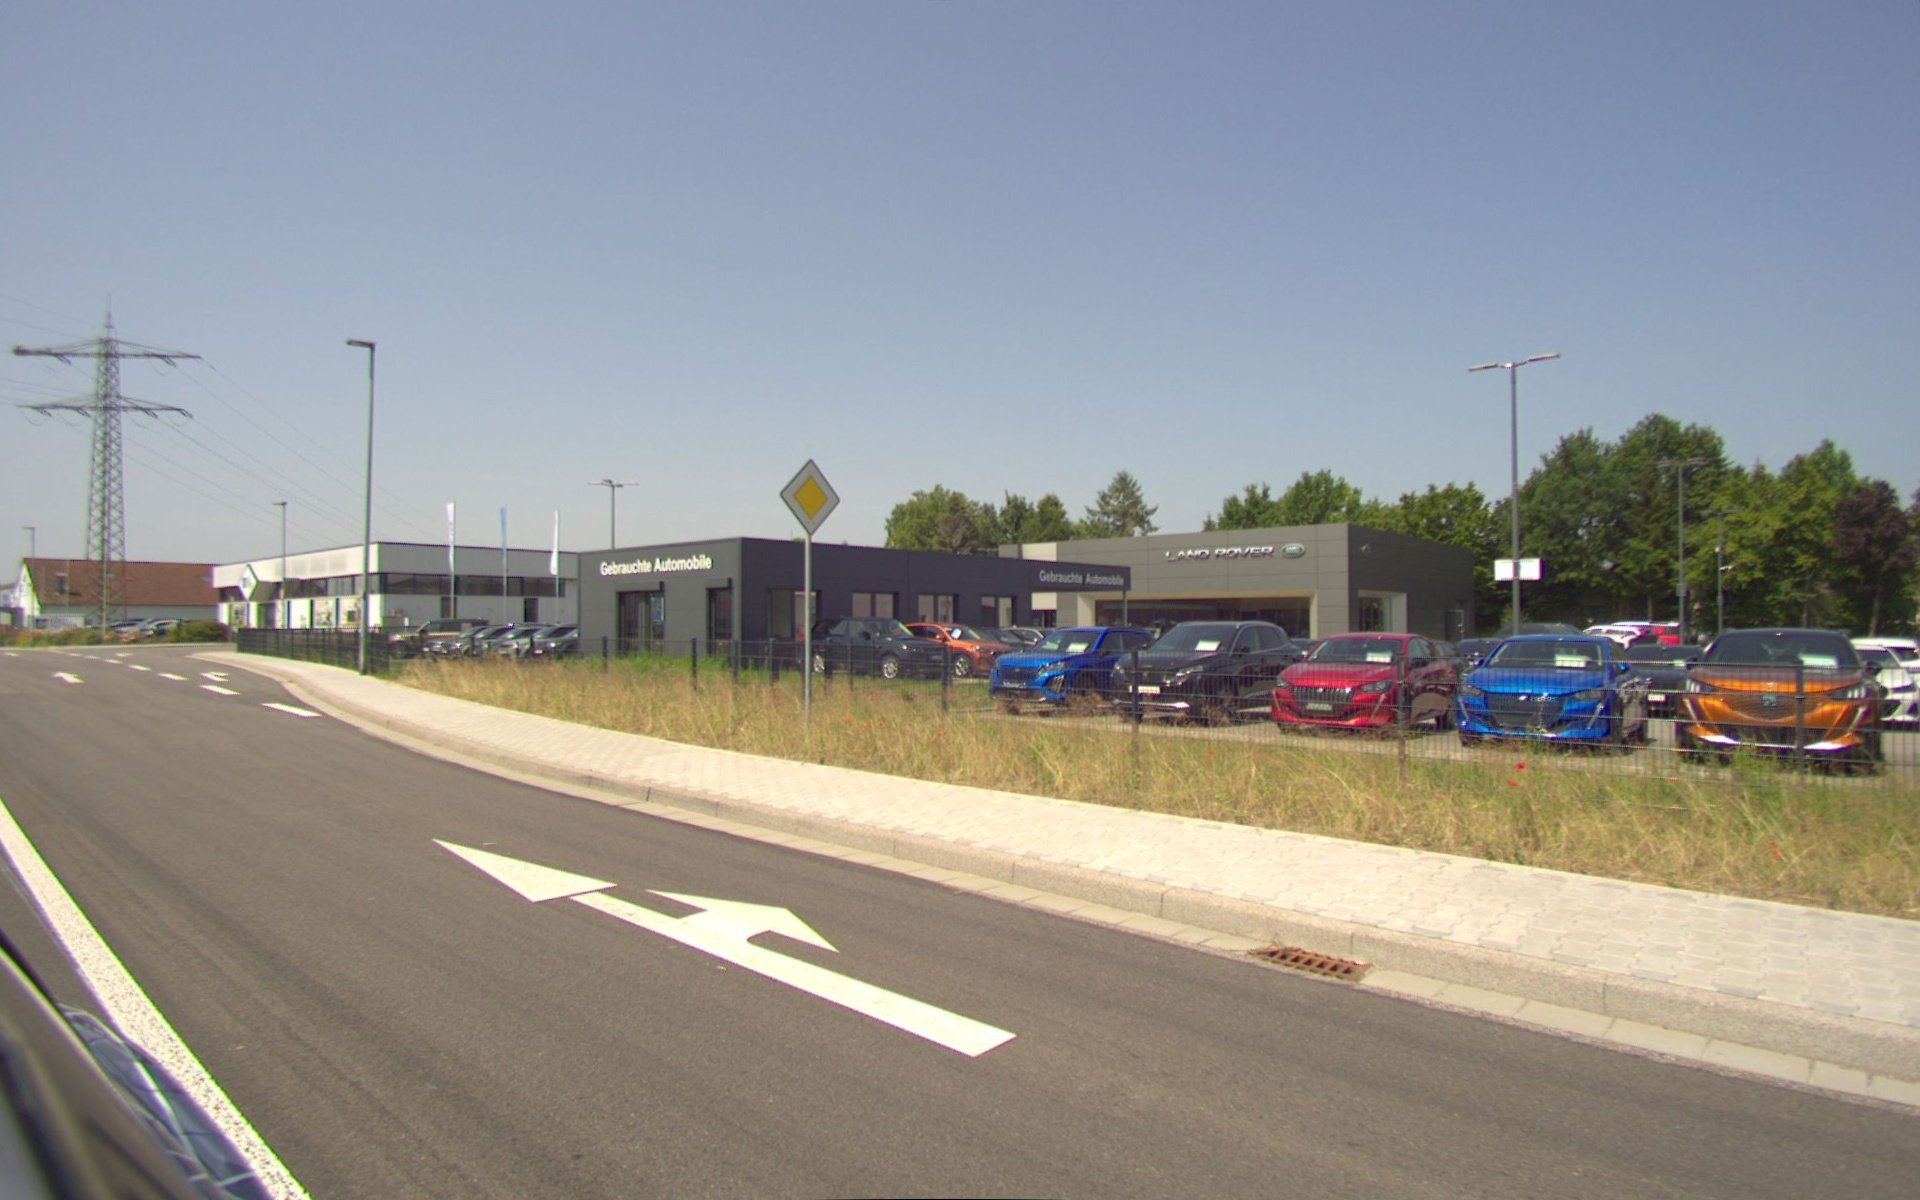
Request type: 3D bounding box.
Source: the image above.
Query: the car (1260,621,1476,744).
[{"bbox_3d":[6.054,1.120,14.779,1.813,1.540,3.947,-3,-3,39],"label":"car"}]

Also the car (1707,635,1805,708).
[{"bbox_3d":[19.045,1.661,24.338,1.674,1.606,3.950,-2,-3,37],"label":"car"}]

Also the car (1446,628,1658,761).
[{"bbox_3d":[7.832,1.121,13.221,1.784,1.456,3.947,-3,-3,39],"label":"car"}]

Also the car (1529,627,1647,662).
[{"bbox_3d":[28.076,2.016,45.326,4.338,1.492,1.606,-2,-3,38],"label":"car"}]

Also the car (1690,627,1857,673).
[{"bbox_3d":[27.874,1.720,34.862,4.338,1.492,1.606,-2,-3,38],"label":"car"}]

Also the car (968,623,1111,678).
[{"bbox_3d":[2.737,1.719,35.433,4.748,1.752,1.934,0,-2,40],"label":"car"}]

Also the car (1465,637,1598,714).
[{"bbox_3d":[12.352,1.557,21.765,1.813,1.492,3.947,-3,-3,39],"label":"car"}]

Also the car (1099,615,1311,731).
[{"bbox_3d":[4.067,1.120,16.433,1.813,1.648,3.947,-3,-3,39],"label":"car"}]

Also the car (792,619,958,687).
[{"bbox_3d":[-2.487,1.461,28.962,4.748,1.752,1.934,0,-2,40],"label":"car"}]

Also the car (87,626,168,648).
[{"bbox_3d":[-57.963,2.579,70.498,1.994,1.425,3.954,-2,-3,33],"label":"car"}]

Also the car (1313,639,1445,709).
[{"bbox_3d":[9.946,1.684,23.889,1.813,1.492,3.947,-3,-3,39],"label":"car"}]

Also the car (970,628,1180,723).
[{"bbox_3d":[2.157,1.278,18.126,1.909,1.492,3.947,-3,-3,39],"label":"car"}]

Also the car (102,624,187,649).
[{"bbox_3d":[-55.293,2.476,68.688,1.831,1.660,4.184,-2,-3,37],"label":"car"}]

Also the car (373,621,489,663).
[{"bbox_3d":[-25.565,2.002,49.040,4.602,1.879,2.071,0,0,-12],"label":"car"}]

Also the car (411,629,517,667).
[{"bbox_3d":[-22.796,2.195,46.611,1.884,1.644,3.947,-3,-3,39],"label":"car"}]

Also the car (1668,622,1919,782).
[{"bbox_3d":[9.515,1.047,11.651,1.913,1.506,3.947,-3,-3,39],"label":"car"}]

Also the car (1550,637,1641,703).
[{"bbox_3d":[16.783,1.783,26.666,1.674,1.606,3.950,-2,-3,37],"label":"car"}]

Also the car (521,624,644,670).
[{"bbox_3d":[-14.466,1.803,38.941,1.821,1.644,4.107,-3,-3,39],"label":"car"}]

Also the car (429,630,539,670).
[{"bbox_3d":[-20.948,2.190,44.650,1.975,1.644,3.947,-3,-3,39],"label":"car"}]

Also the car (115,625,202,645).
[{"bbox_3d":[-52.807,2.320,66.742,1.831,1.325,4.184,-2,-3,37],"label":"car"}]

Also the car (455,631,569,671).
[{"bbox_3d":[-18.913,2.141,42.854,1.975,1.644,3.947,-3,-3,39],"label":"car"}]

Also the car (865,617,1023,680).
[{"bbox_3d":[-0.554,1.438,31.215,4.748,1.752,1.934,0,-2,40],"label":"car"}]

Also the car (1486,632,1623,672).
[{"bbox_3d":[22.877,2.003,39.022,4.338,1.492,1.606,-2,-3,38],"label":"car"}]

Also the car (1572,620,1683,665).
[{"bbox_3d":[32.381,2.079,49.143,4.338,2.053,1.606,-2,-3,38],"label":"car"}]

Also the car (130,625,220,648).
[{"bbox_3d":[-49.720,2.327,64.142,1.831,1.405,4.184,-2,-3,37],"label":"car"}]

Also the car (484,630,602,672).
[{"bbox_3d":[-16.877,2.050,41.084,1.967,1.644,3.945,-3,-3,41],"label":"car"}]
